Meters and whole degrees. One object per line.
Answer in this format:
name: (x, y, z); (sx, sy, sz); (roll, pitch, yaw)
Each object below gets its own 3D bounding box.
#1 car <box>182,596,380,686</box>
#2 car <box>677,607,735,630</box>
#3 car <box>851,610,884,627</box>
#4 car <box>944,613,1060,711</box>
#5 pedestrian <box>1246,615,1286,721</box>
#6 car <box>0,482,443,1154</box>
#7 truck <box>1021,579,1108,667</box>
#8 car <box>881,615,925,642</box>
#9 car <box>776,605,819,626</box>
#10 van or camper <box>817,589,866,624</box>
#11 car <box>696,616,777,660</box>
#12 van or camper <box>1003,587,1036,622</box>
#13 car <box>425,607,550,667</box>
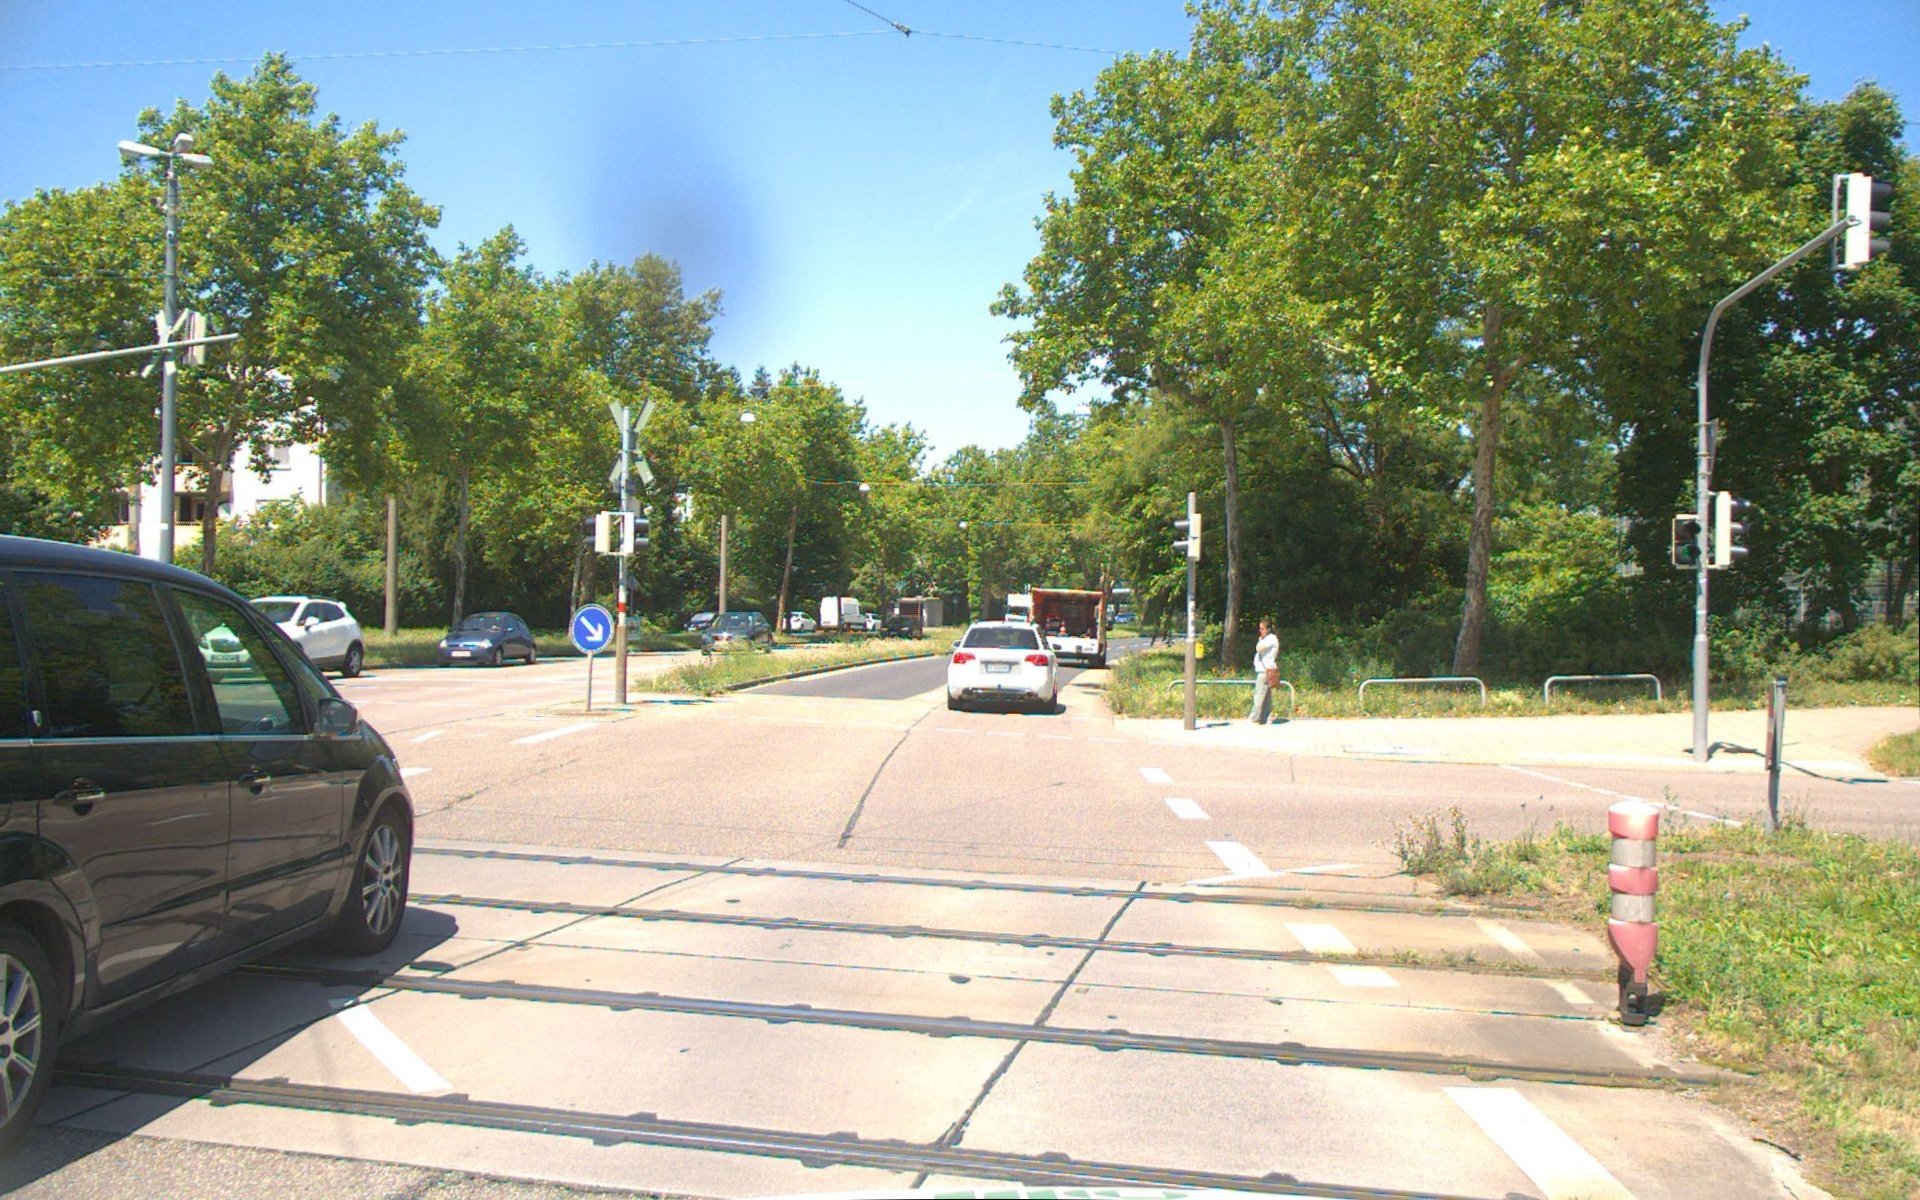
car: (-13.456, 0.758, 33.083); (1.749, 1.643, 4.407); (1, 0, 6)
car: (-15.778, 1.146, 103.057); (1.843, 1.417, 4.000); (1, 0, 20)
car: (-7.448, 1.518, 133.535); (1.657, 1.306, 3.806); (1, 0, 13)
car: (0.758, 0.976, 27.379); (1.725, 1.471, 3.618); (1, 0, 4)
pedestrian: (4.464, 0.978, 24.140); (0.541, 1.510, 0.630); (1, 0, 10)
car: (-3.424, 0.567, 5.526); (1.816, 1.786, 4.649); (1, 0, 1)
truck: (3.553, 0.677, 54.696); (2.458, 2.604, 7.609); (3, 1, 6)
car: (-3.435, 1.698, 100.077); (1.773, 1.533, 4.597); (1, 0, 9)
car: (-11.618, 1.108, 118.333); (1.841, 1.500, 4.003); (1, 0, 14)
van or camper: (-9.065, 0.525, 127.387); (2.136, 2.633, 5.313); (1, 0, 14)
car: (-7.548, 1.259, 56.307); (1.699, 1.419, 4.181); (-1, -1, 7)
van or camper: (5.980, 0.434, 166.063); (2.604, 3.389, 5.504); (1, 0, 8)
car: (-12.338, 0.938, 43.424); (1.683, 1.481, 3.872); (1, 0, 8)
